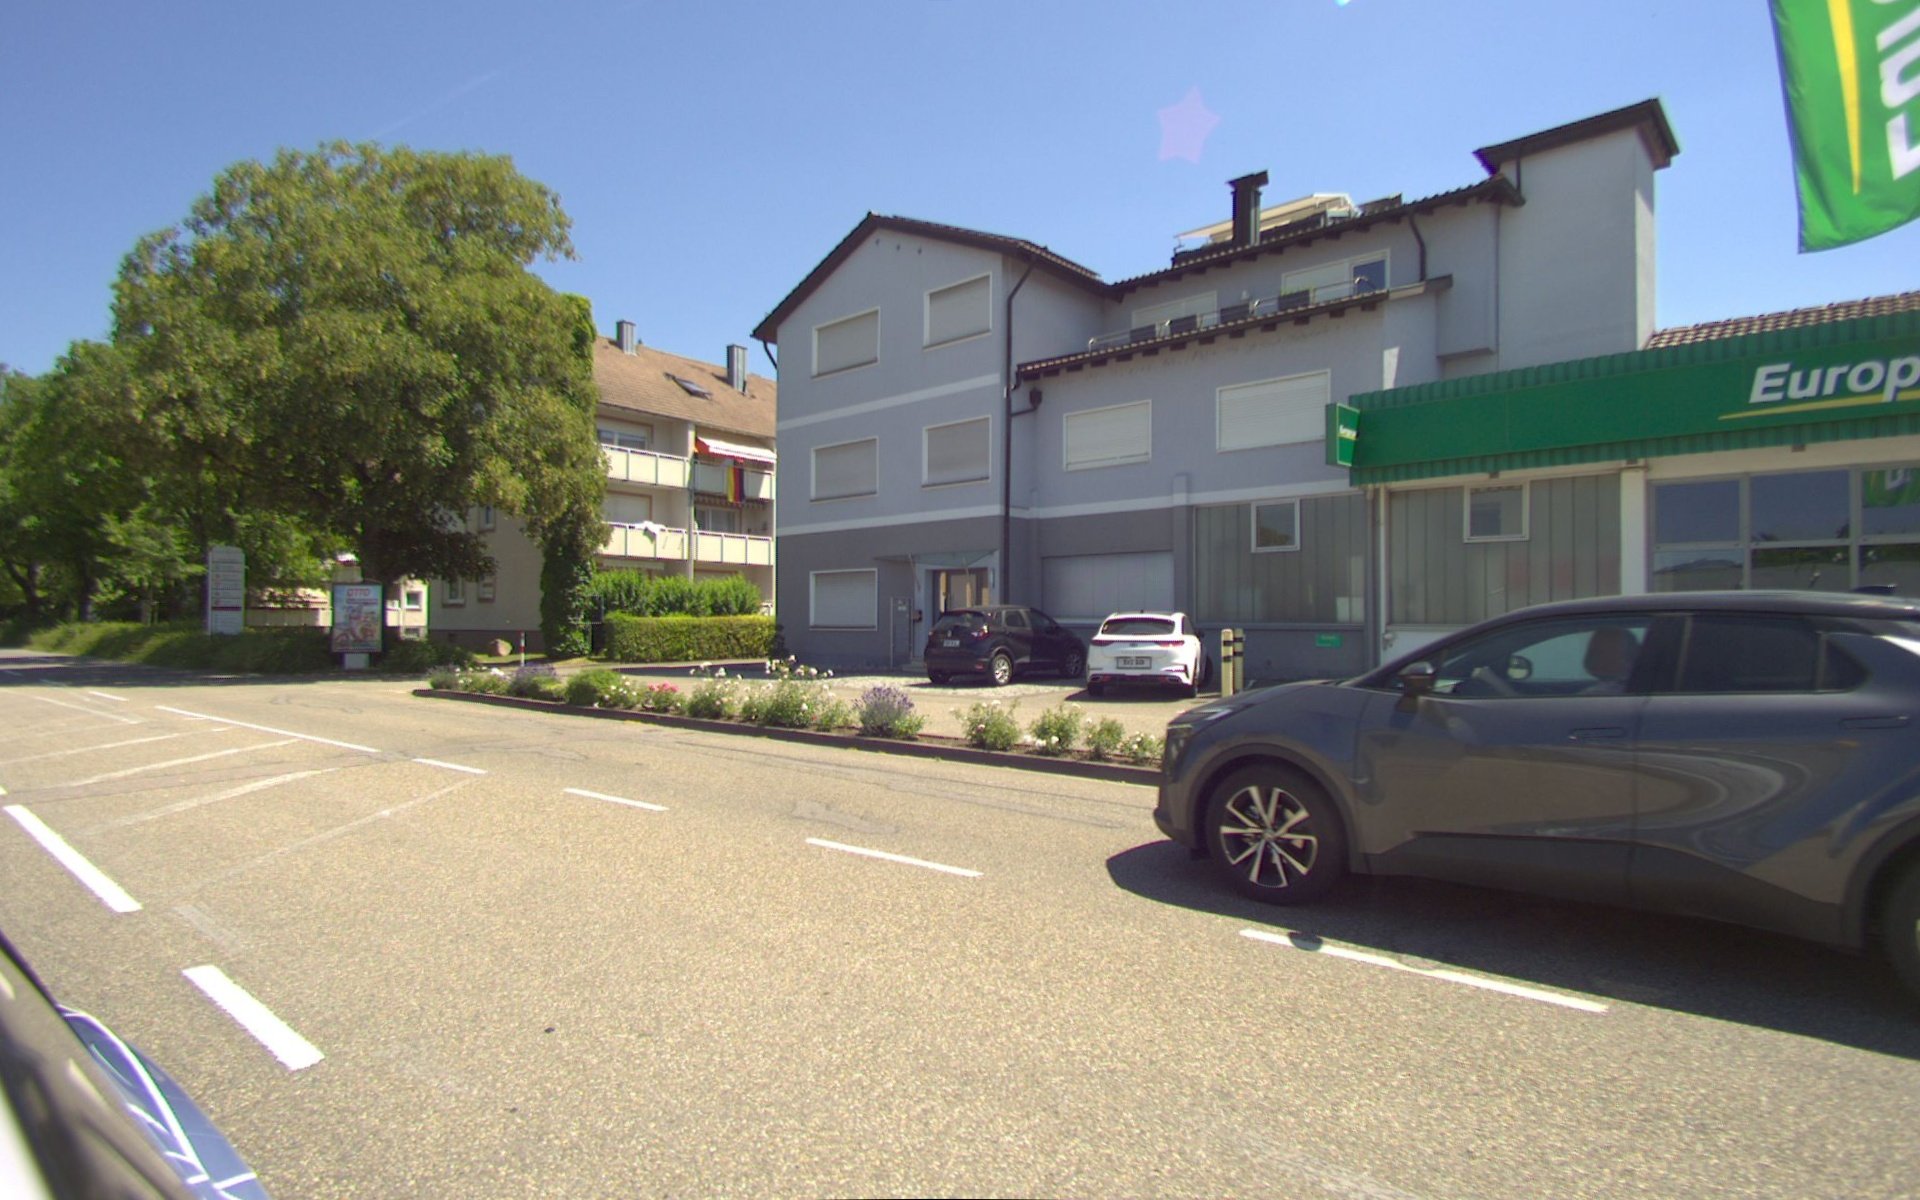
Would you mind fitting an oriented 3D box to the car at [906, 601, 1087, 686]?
[{"bbox_3d":[0.812,0.833,20.772,1.968,1.577,3.524,-1,-1,40],"label":"car"}]

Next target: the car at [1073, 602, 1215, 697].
[{"bbox_3d":[3.361,0.790,17.793,1.924,1.450,4.329,0,-1,18],"label":"car"}]

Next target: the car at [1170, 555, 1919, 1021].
[{"bbox_3d":[3.199,0.659,4.505,4.136,1.539,1.744,-1,-3,41],"label":"car"}]
